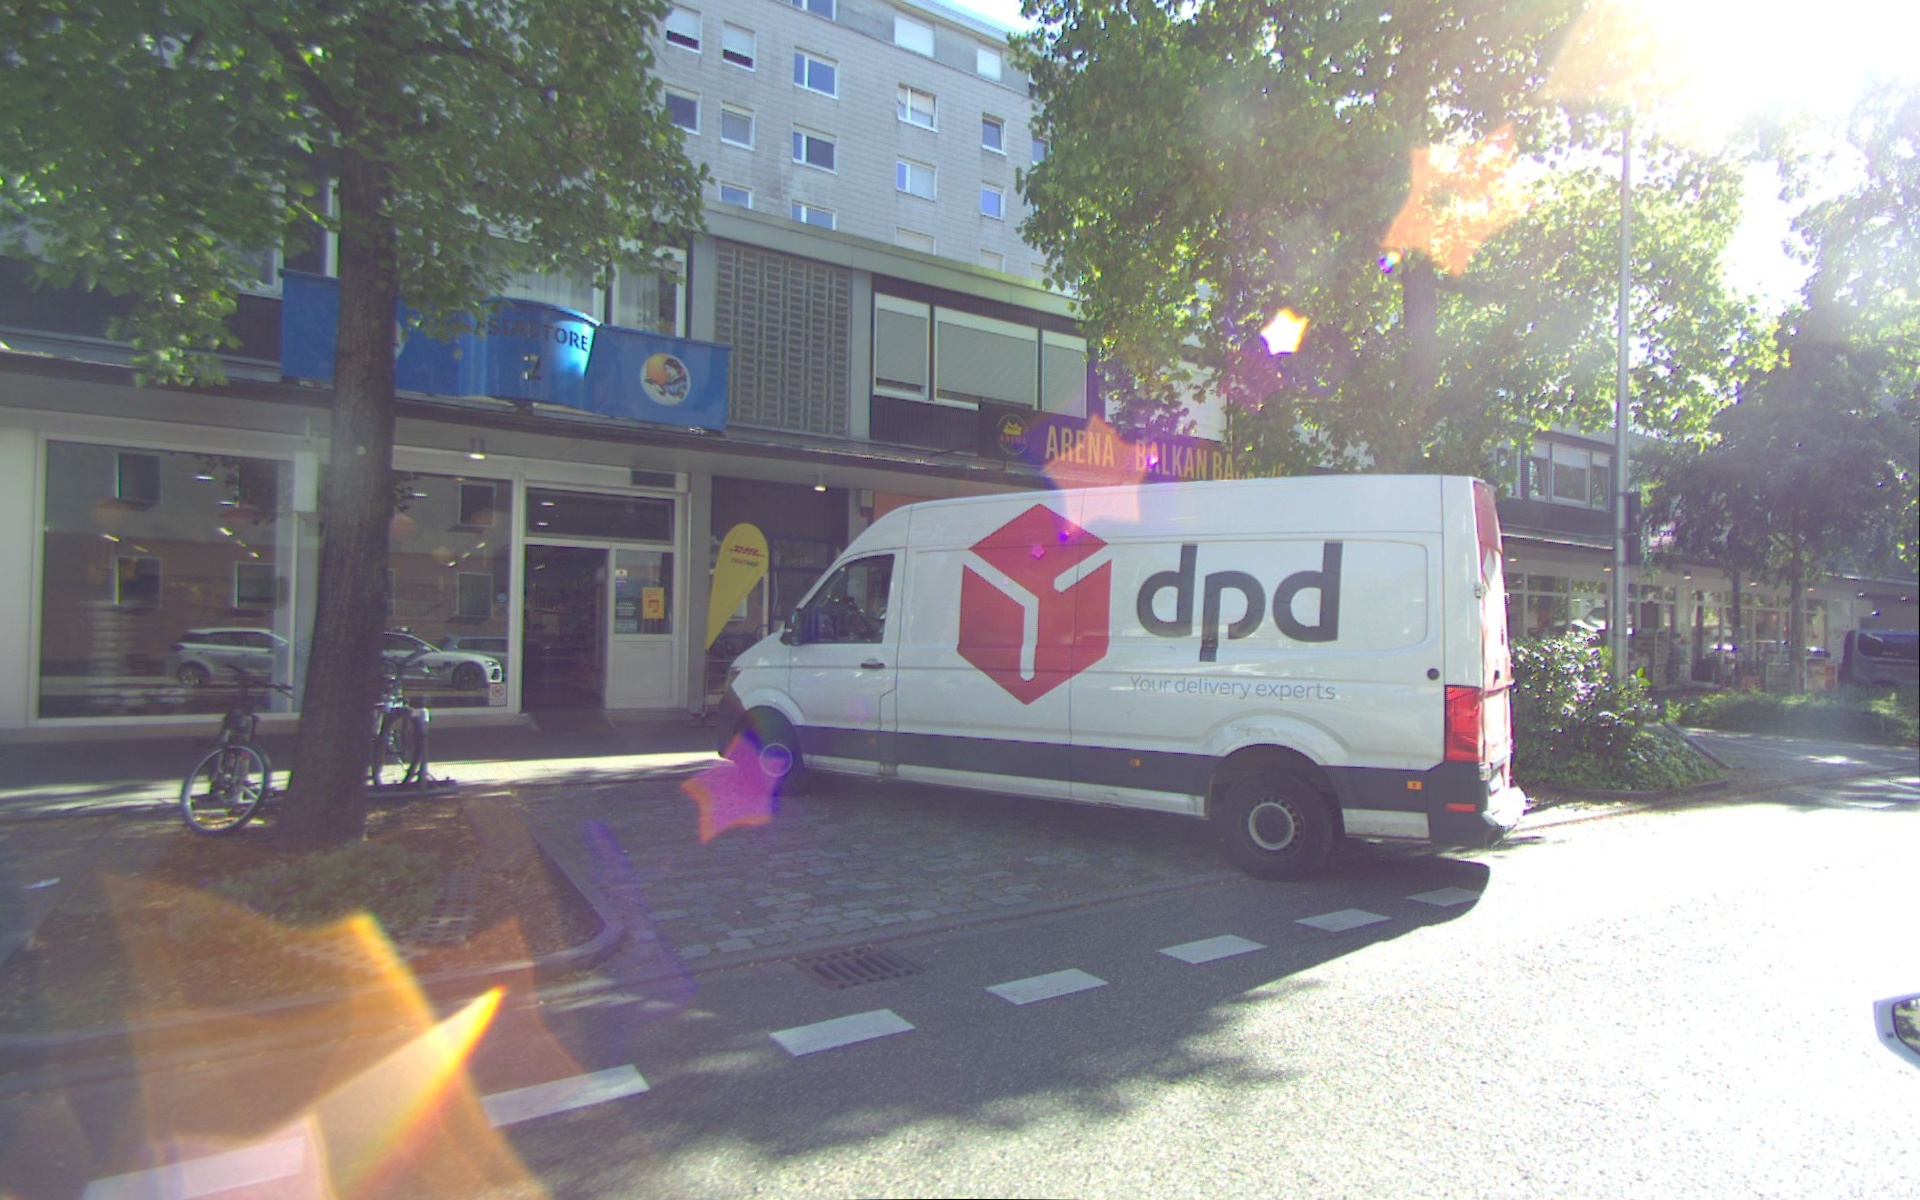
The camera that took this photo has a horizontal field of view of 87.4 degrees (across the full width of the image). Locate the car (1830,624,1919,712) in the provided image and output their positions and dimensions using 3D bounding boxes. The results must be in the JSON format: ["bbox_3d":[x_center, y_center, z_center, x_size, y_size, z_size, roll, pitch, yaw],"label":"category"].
[{"bbox_3d":[23.690,1.646,23.070,1.993,2.000,5.263,2,-1,-32],"label":"car"}]

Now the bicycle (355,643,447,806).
[{"bbox_3d":[-4.691,0.974,8.471,0.579,1.121,1.860,2,0,-28],"label":"bicycle"}]

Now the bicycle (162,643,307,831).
[{"bbox_3d":[-5.290,0.930,7.413,0.615,1.132,1.712,2,0,-28],"label":"bicycle"}]

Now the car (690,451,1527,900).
[{"bbox_3d":[0.864,0.461,8.184,6.489,2.506,1.996,0,-2,32],"label":"car"}]
